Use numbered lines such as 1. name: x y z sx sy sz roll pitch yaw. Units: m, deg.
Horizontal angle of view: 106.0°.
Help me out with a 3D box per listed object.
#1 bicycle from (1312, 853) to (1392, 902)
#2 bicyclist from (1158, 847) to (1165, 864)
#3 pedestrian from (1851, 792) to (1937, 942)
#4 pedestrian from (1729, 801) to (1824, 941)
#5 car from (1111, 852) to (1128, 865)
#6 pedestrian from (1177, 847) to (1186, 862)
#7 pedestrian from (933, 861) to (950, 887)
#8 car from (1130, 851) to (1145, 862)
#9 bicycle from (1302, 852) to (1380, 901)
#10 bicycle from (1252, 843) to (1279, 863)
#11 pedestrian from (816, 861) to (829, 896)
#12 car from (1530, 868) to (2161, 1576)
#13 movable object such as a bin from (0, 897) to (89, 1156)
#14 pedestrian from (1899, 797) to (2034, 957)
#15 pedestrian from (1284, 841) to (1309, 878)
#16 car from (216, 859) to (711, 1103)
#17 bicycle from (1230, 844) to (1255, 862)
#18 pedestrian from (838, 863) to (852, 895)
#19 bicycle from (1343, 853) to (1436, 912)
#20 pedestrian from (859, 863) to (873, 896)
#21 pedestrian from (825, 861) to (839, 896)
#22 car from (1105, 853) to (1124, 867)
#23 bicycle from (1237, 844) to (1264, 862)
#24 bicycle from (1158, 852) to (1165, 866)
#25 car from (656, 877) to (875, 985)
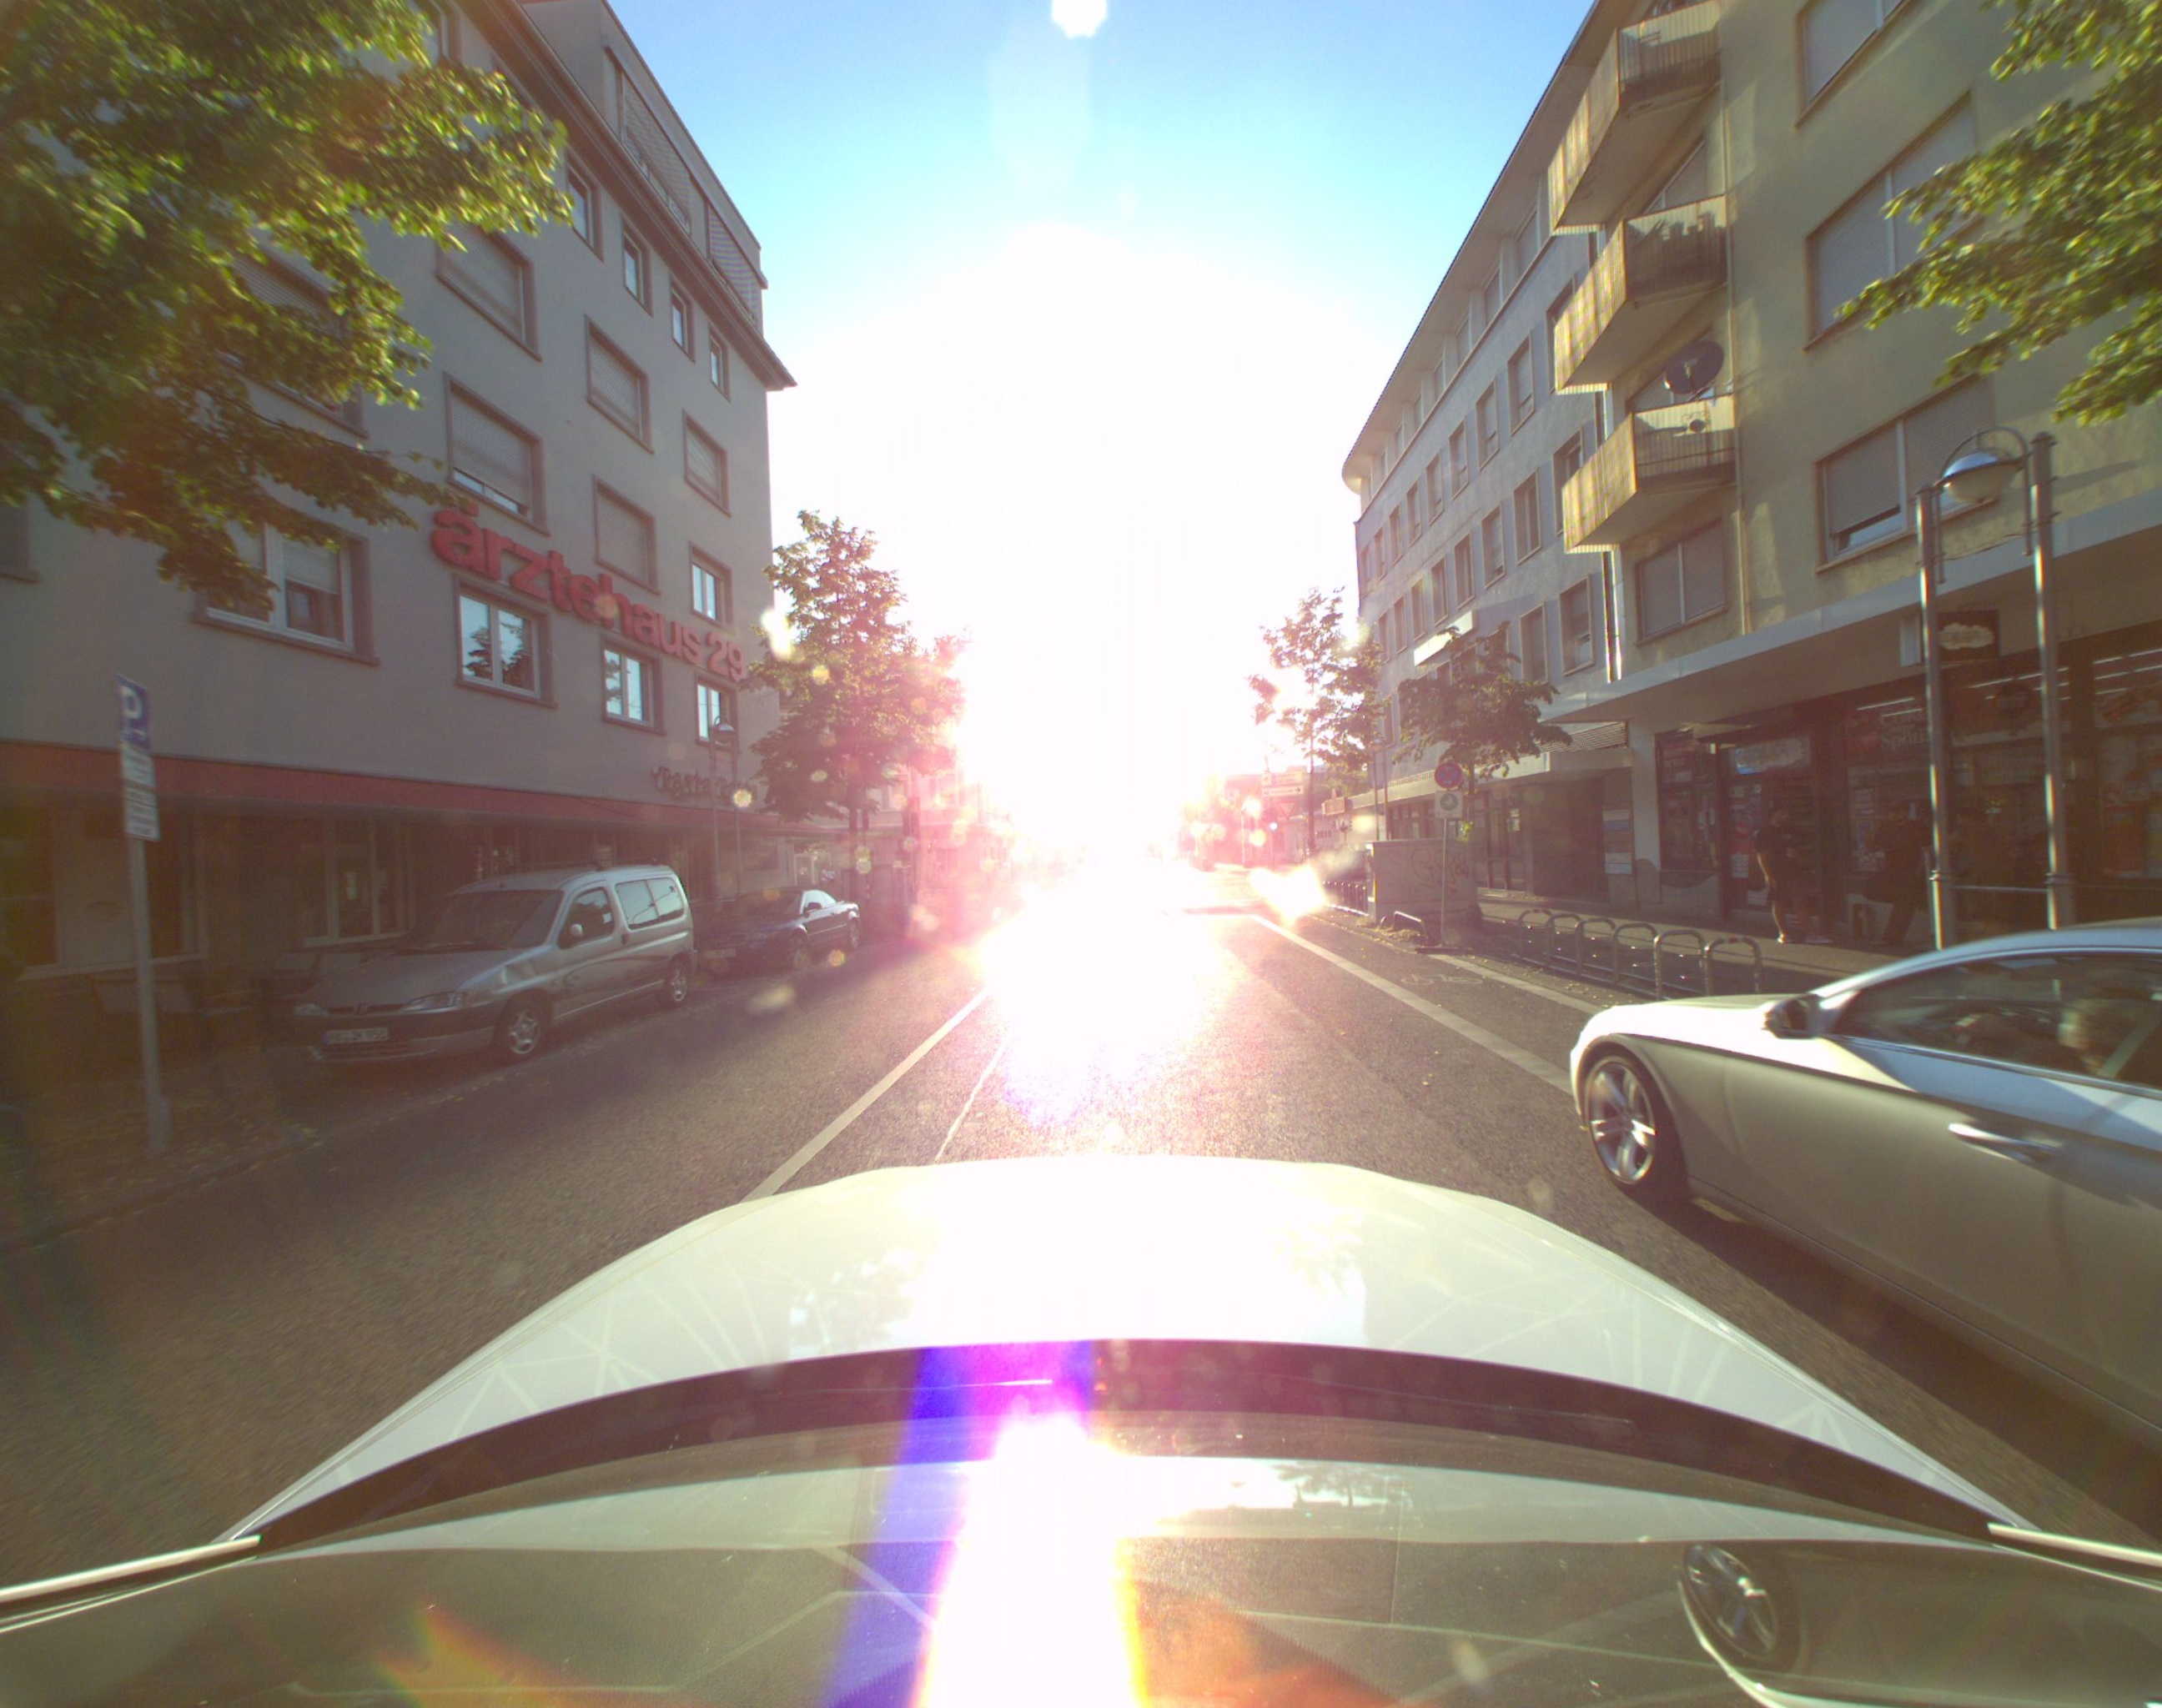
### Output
1. bicycle: 7.141 0.610 21.539 1.903 1.203 0.470 -3 0 5
2. bicyclist: 8.127 0.169 82.392 0.675 1.707 0.670 -3 0 5
3. pedestrian: 9.954 0.150 9.985 0.581 1.782 0.525 -1 0 -16
4. pedestrian: 9.264 0.215 10.866 0.704 1.807 0.651 -1 0 4
5. car: 5.502 0.685 115.810 2.293 1.678 5.539 -3 0 4
6. pedestrian: 12.696 0.087 103.237 0.797 1.786 0.998 -5 -1 18
7. pedestrian: -8.490 1.220 49.488 0.870 1.548 0.695 -3 0 -18
8. car: 9.412 0.470 135.851 2.293 1.678 5.539 -3 0 4
9. bicycle: 7.029 0.606 22.041 1.903 1.203 0.470 -3 0 5
10. bicycle: 15.179 -0.086 67.032 1.976 1.522 0.480 -3 0 5
11. pedestrian: -14.504 1.352 45.674 0.498 1.928 0.570 -3 0 -31
12. car: 3.141 0.791 1.972 1.793 1.378 4.556 -1 0 3
13. movable object such as a bin: -7.751 1.144 5.100 1.276 1.673 1.441 0 0 1
14. pedestrian: 9.660 0.238 8.917 0.639 1.660 0.778 -1 0 4
15. pedestrian: 10.577 0.255 39.964 0.796 1.726 1.000 -5 -1 32
16. car: -5.874 1.029 8.579 1.908 1.787 4.148 -4 0 1
17. bicycle: 15.322 -0.106 77.299 2.209 1.522 0.682 -3 0 8
18. pedestrian: -13.361 1.419 46.120 0.699 1.745 0.636 -3 0 -18
19. bicycle: 6.915 0.622 18.274 1.911 1.203 0.469 -3 0 -8
20. pedestrian: -12.177 1.440 46.189 0.647 1.778 0.668 -3 0 -18
21. pedestrian: -14.129 1.367 46.129 0.531 1.928 0.633 -3 0 -32
22. car: 4.479 0.778 108.259 2.293 1.678 5.539 -3 0 4
23. bicycle: 15.432 -0.067 74.138 2.212 1.522 0.682 -3 0 5
24. bicycle: 8.160 0.483 82.496 0.675 1.402 2.233 -3 0 6
25. car: -5.347 1.233 14.559 1.907 1.386 4.386 -4 0 3
